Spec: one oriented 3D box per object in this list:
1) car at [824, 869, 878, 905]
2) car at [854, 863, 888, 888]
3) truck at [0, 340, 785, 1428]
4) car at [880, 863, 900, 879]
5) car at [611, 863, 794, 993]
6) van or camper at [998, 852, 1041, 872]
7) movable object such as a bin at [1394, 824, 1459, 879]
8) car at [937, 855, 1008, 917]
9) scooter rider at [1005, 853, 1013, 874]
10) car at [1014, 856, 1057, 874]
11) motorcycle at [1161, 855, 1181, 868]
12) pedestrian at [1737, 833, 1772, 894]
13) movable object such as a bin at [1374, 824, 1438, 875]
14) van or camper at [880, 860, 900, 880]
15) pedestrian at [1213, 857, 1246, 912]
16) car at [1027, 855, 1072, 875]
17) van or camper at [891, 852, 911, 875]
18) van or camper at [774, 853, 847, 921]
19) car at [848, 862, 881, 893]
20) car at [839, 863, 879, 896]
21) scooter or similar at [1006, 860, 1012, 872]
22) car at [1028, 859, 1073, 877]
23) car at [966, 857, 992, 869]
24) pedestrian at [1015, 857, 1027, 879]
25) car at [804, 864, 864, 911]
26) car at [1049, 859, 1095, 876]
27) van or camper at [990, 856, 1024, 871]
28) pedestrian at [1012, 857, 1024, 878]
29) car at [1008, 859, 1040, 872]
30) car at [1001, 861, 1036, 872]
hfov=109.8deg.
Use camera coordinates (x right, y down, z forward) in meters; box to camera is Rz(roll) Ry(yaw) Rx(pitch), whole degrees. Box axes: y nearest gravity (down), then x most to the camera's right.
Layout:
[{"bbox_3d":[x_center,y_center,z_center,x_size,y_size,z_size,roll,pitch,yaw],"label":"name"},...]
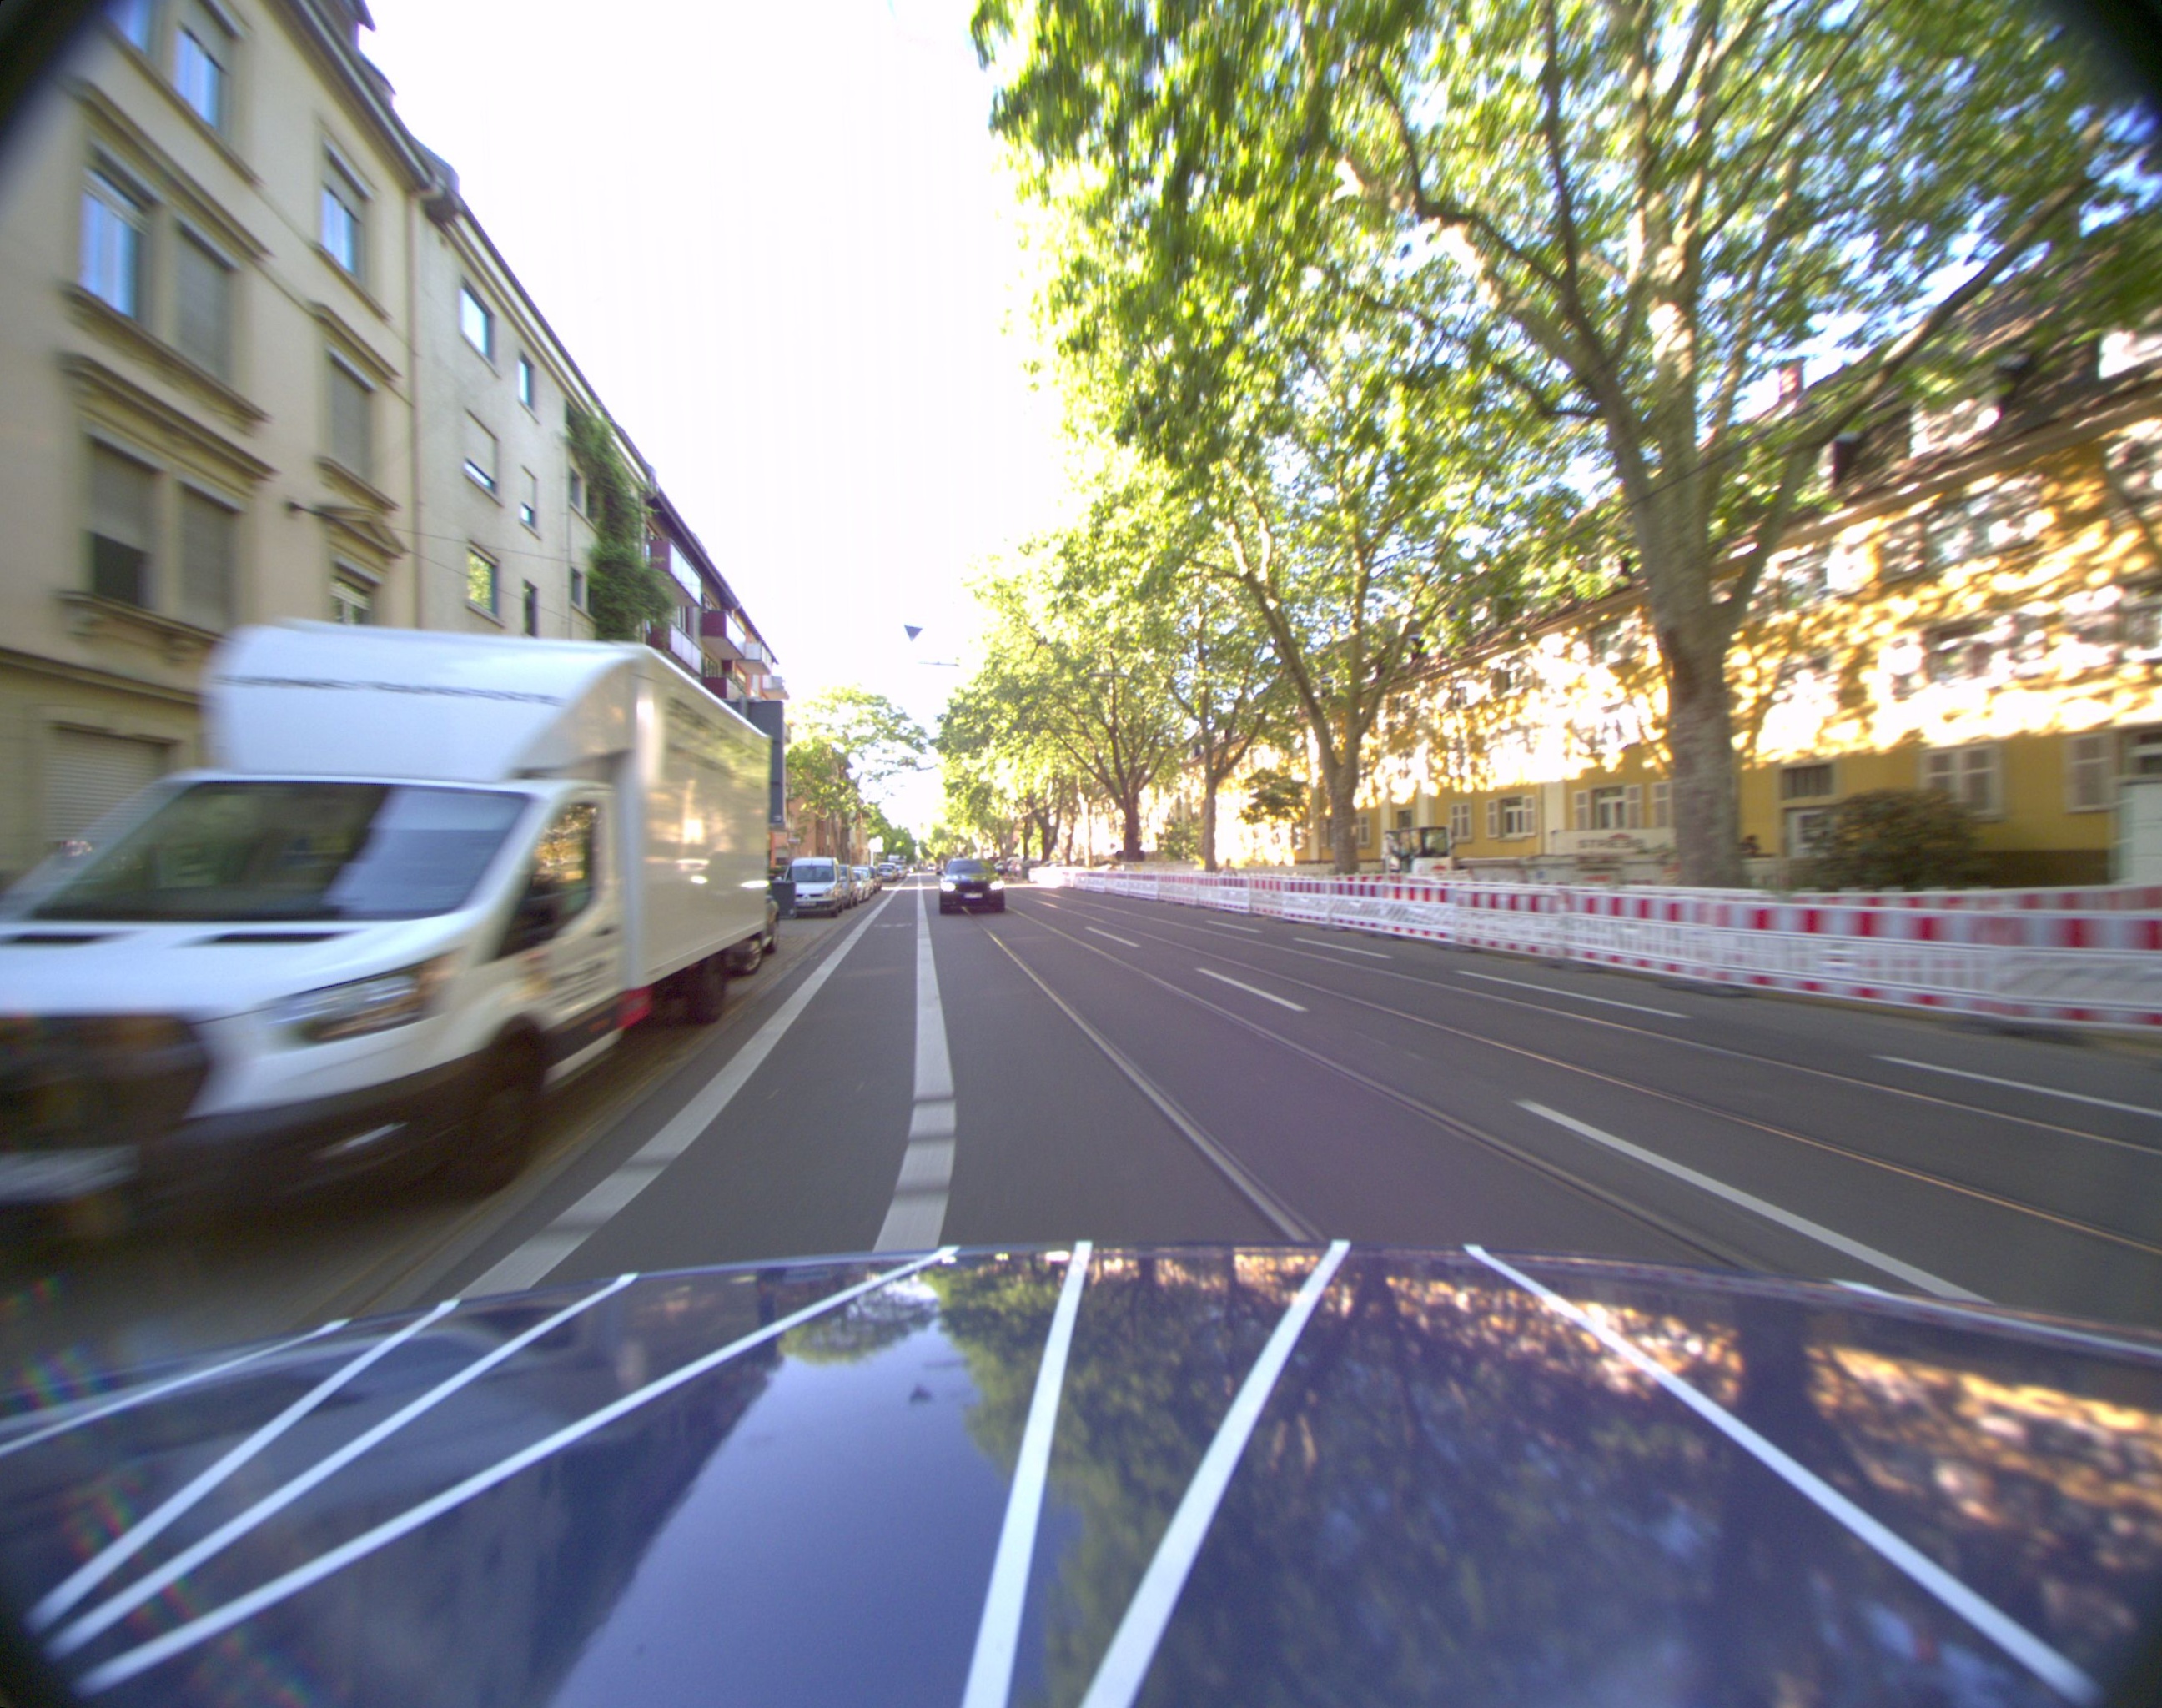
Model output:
[{"bbox_3d":[-9.814,1.382,32.722,1.665,1.391,4.736,1,-1,-10],"label":"car"},{"bbox_3d":[-12.914,1.304,46.838,1.740,1.453,3.912,1,-1,-12],"label":"car"},{"bbox_3d":[-4.326,0.100,5.777,2.547,3.318,7.187,2,0,-11],"label":"truck"},{"bbox_3d":[-17.805,1.581,70.922,1.711,1.464,3.996,0,0,-12],"label":"car"},{"bbox_3d":[-5.474,0.950,11.531,1.738,1.548,4.145,2,0,-16],"label":"car"},{"bbox_3d":[-8.194,1.056,100.972,5.408,2.501,2.442,-2,0,-12],"label":"van or camper"},{"bbox_3d":[10.797,-0.085,23.795,1.101,1.636,1.558,-2,1,-12],"label":"movable object such as a bin"},{"bbox_3d":[-3.602,0.940,24.546,1.926,1.741,4.801,-2,0,-12],"label":"car"},{"bbox_3d":[-6.950,0.904,73.493,0.651,1.946,0.623,-2,1,-11],"label":"scooter rider"},{"bbox_3d":[-5.272,1.220,88.063,4.674,1.934,1.959,-2,0,-15],"label":"car"},{"bbox_3d":[8.282,0.684,69.893,1.715,1.234,0.522,-1,0,-10],"label":"motorcycle"},{"bbox_3d":[18.402,0.260,20.775,0.670,1.646,0.675,0,0,39],"label":"pedestrian"},{"bbox_3d":[12.468,-0.171,29.255,1.338,1.858,2.005,-2,1,-12],"label":"movable object such as a bin"},{"bbox_3d":[-19.120,1.583,76.247,1.761,1.853,4.825,0,0,-13],"label":"van or camper"},{"bbox_3d":[4.638,0.931,23.752,0.719,1.659,0.778,-2,1,-11],"label":"pedestrian"},{"bbox_3d":[-3.137,1.078,75.116,4.214,1.747,1.738,-2,0,-14],"label":"car"},{"bbox_3d":[-24.344,1.250,102.742,2.471,3.046,6.261,1,-1,-13],"label":"van or camper"},{"bbox_3d":[-8.046,0.927,22.934,1.675,1.871,4.205,0,-1,-14],"label":"van or camper"},{"bbox_3d":[-12.056,1.254,42.540,1.531,1.580,3.747,-2,0,-13],"label":"car"},{"bbox_3d":[-11.255,1.263,38.655,1.597,1.517,3.831,1,0,-11],"label":"car"},{"bbox_3d":[-6.953,1.171,73.534,0.409,1.076,1.337,-2,1,-11],"label":"scooter or similar"},{"bbox_3d":[-2.927,1.299,72.693,4.247,1.678,1.932,0,0,-5],"label":"car"},{"bbox_3d":[-21.173,1.820,157.946,5.024,2.383,2.026,-2,-1,-13],"label":"car"},{"bbox_3d":[-4.848,1.130,61.128,0.825,1.735,0.796,-2,1,-12],"label":"pedestrian"},{"bbox_3d":[-8.972,1.172,27.829,1.666,1.571,3.585,0,-1,-11],"label":"car"},{"bbox_3d":[-0.852,1.254,68.987,3.861,1.489,1.860,0,0,-11],"label":"car"},{"bbox_3d":[-11.021,1.433,113.245,4.837,2.177,2.117,-2,0,-13],"label":"van or camper"},{"bbox_3d":[-5.146,1.112,62.270,0.825,1.735,0.796,-2,1,-12],"label":"pedestrian"},{"bbox_3d":[-7.190,1.444,96.159,3.861,1.653,1.860,0,0,-11],"label":"car"},{"bbox_3d":[-8.091,1.605,98.495,4.279,1.390,1.751,0,0,-11],"label":"car"}]
